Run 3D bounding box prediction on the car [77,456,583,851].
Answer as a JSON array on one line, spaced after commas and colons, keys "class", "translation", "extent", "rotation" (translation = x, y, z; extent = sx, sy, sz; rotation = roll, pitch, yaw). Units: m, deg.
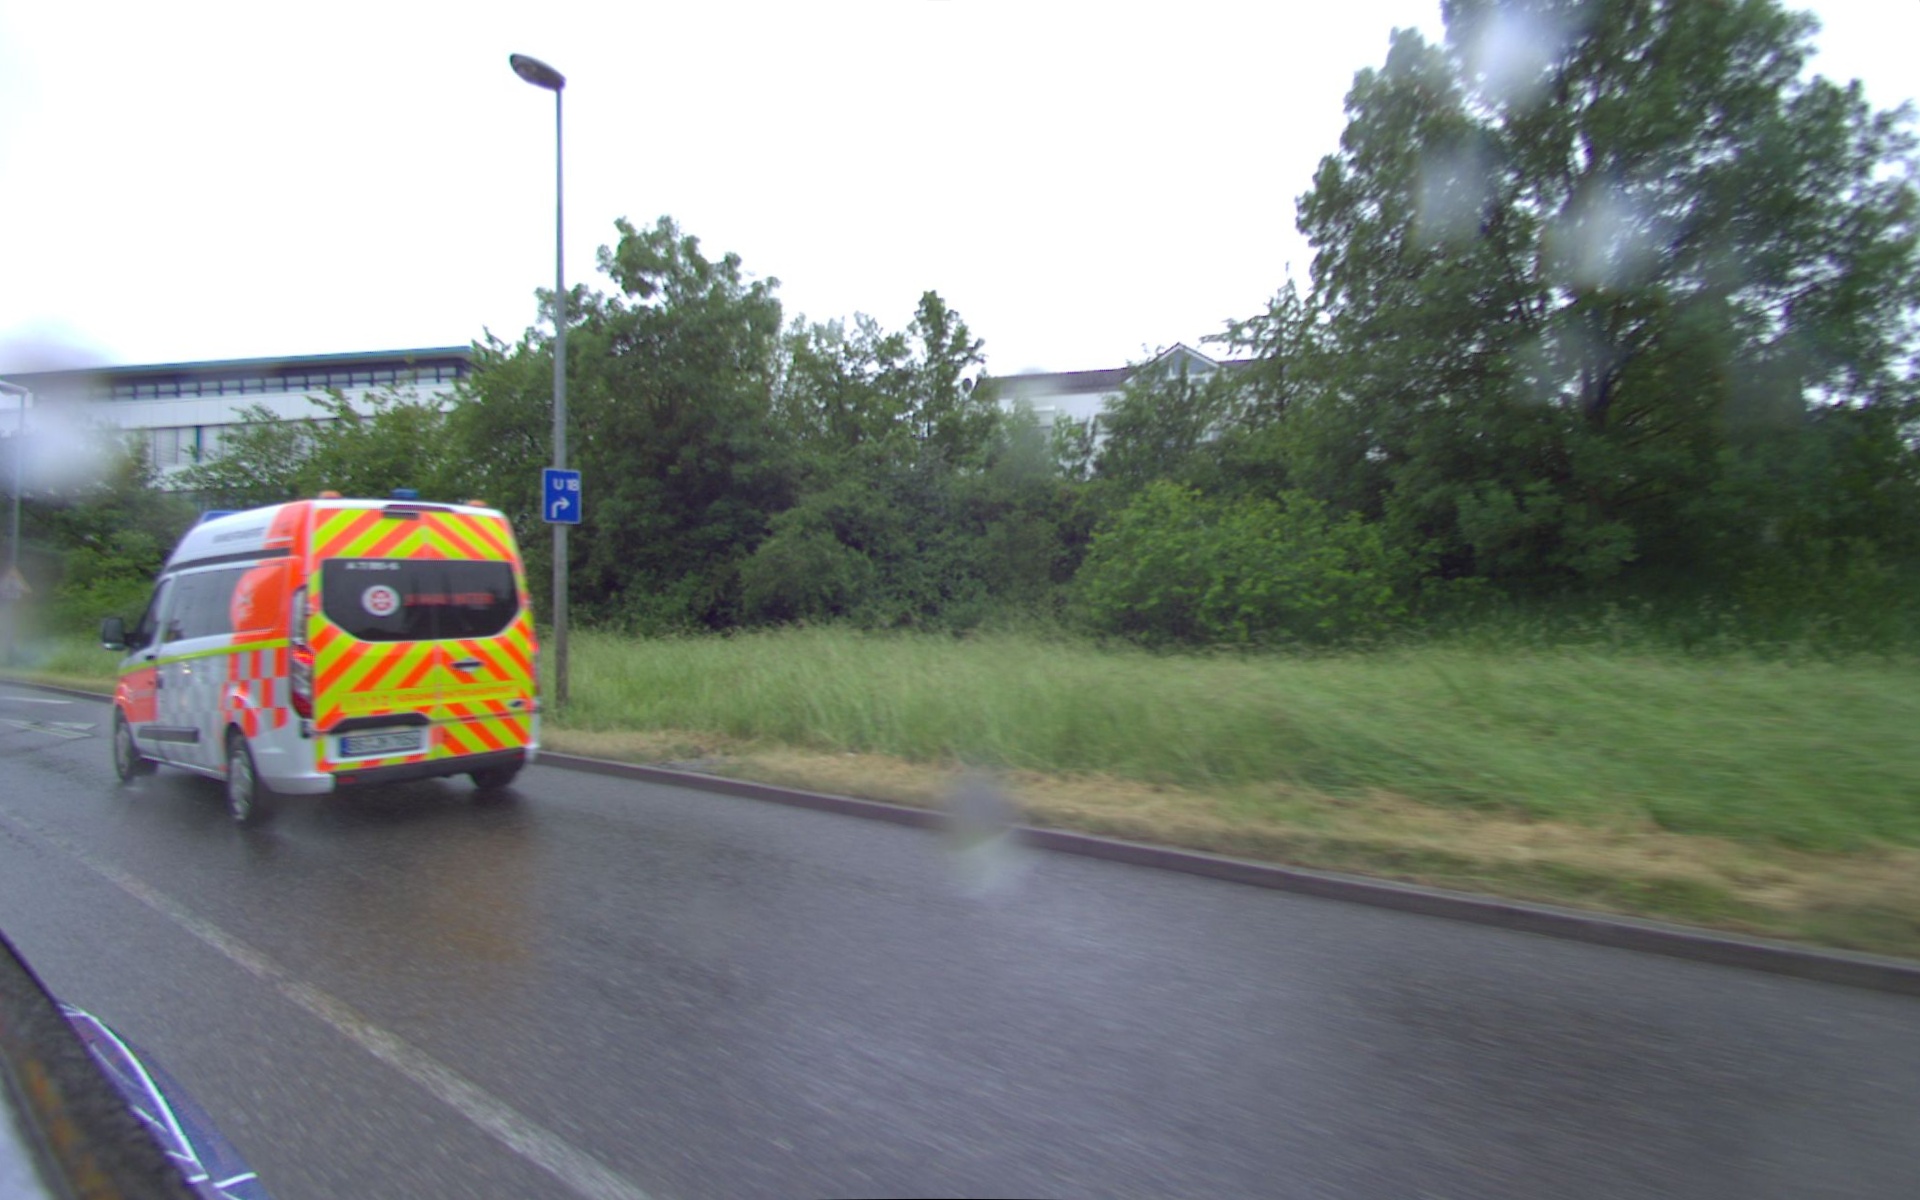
[{"class": "car", "translation": [-5.679, 0.364, 8.747], "extent": [5.449, 2.436, 2.025], "rotation": [-1, 0, 39]}]
